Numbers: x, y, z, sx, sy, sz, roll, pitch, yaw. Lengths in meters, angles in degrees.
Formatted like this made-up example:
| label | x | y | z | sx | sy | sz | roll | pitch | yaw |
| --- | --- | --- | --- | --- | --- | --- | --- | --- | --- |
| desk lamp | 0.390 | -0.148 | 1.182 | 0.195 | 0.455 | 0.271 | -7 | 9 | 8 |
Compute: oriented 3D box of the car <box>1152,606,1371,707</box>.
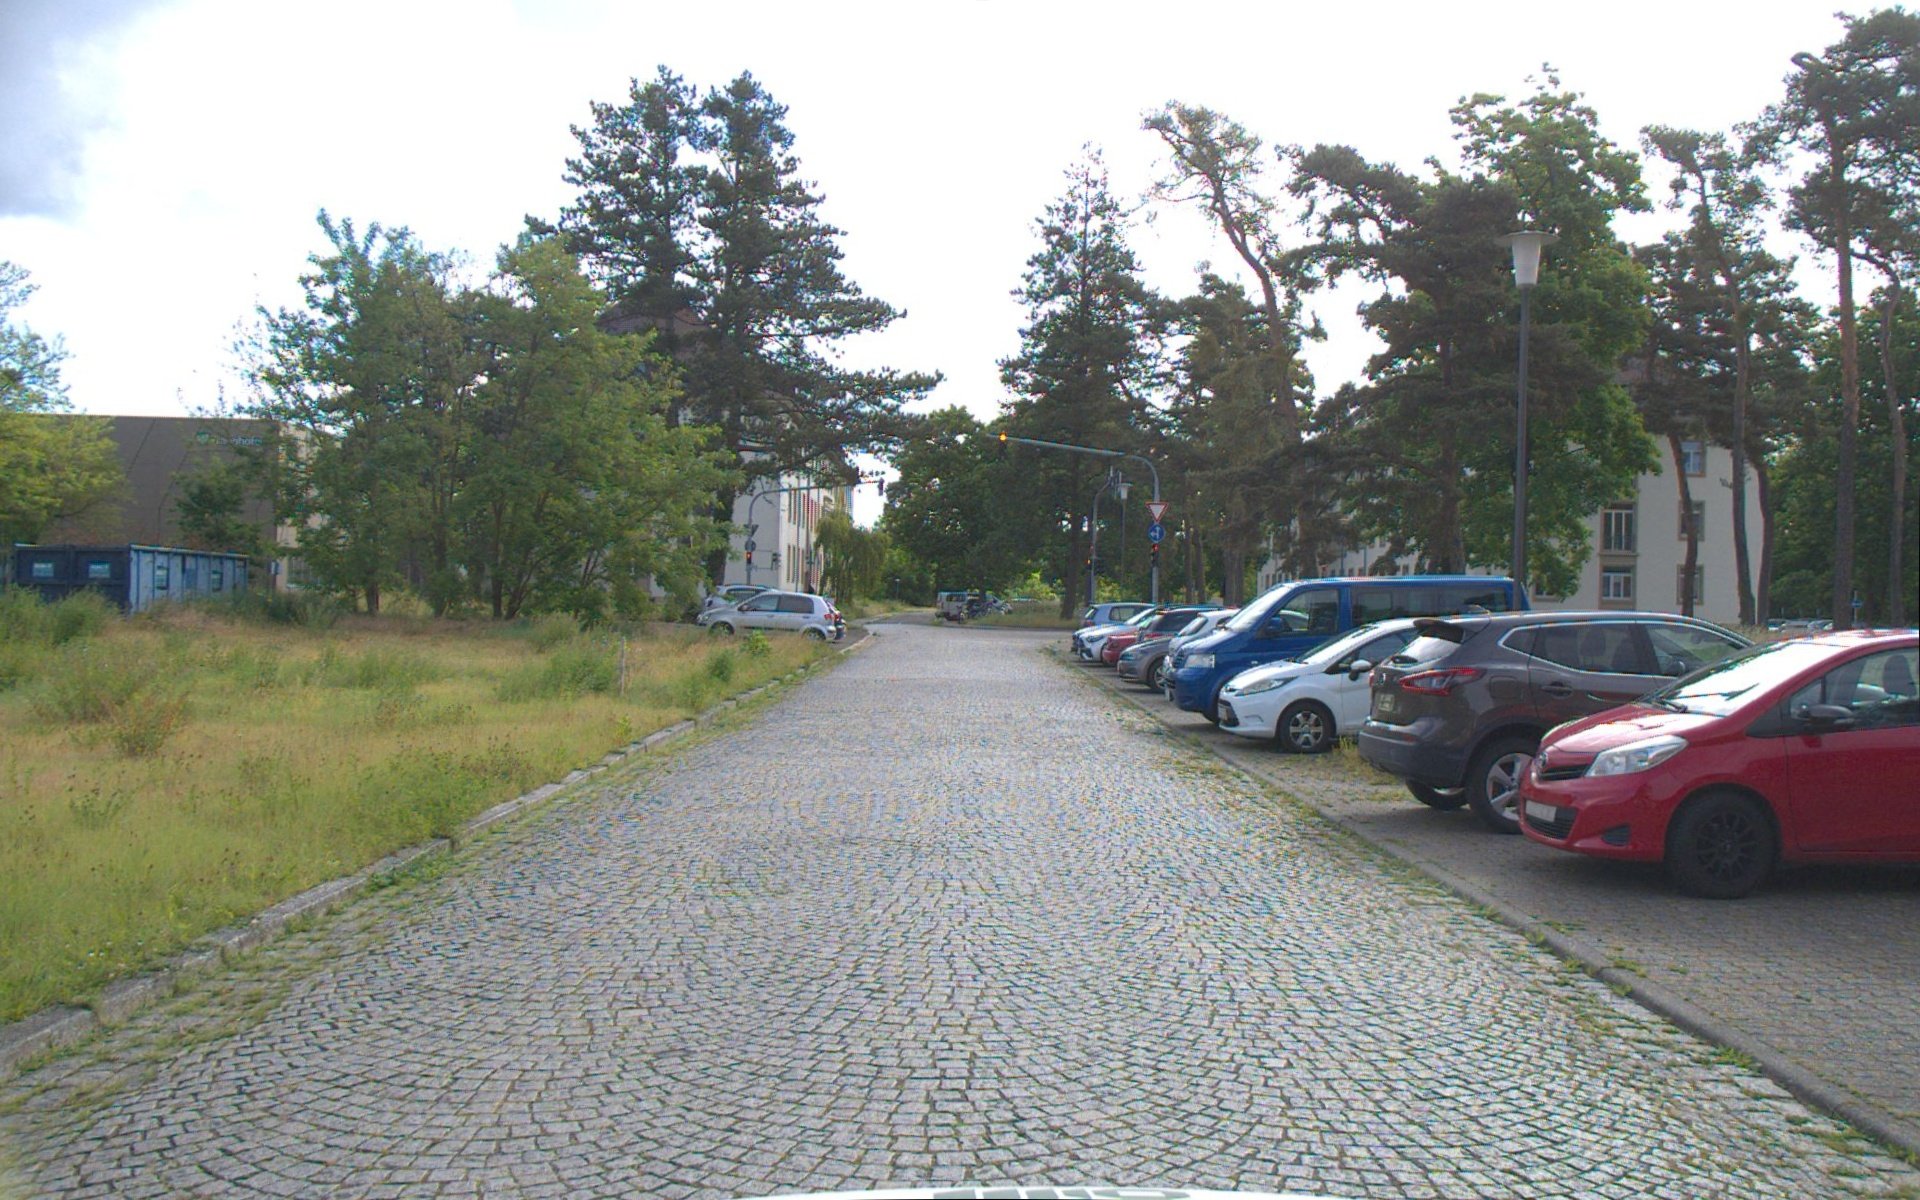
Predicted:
| label | x | y | z | sx | sy | sz | roll | pitch | yaw |
| --- | --- | --- | --- | --- | --- | --- | --- | --- | --- |
| car | 4.885 | 0.902 | 27.072 | 3.226 | 1.531 | 1.663 | 1 | 0 | -3 |

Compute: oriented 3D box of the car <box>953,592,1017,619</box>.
| label | x | y | z | sx | sy | sz | roll | pitch | yaw |
| --- | --- | --- | --- | --- | --- | --- | --- | --- | --- |
| car | 1.628 | 0.344 | 108.891 | 3.911 | 1.673 | 1.997 | 2 | 0 | -7 |

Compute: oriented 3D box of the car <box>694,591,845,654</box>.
| label | x | y | z | sx | sy | sz | roll | pitch | yaw |
| --- | --- | --- | --- | --- | --- | --- | --- | --- | --- |
| car | -5.099 | 0.581 | 44.478 | 3.911 | 1.579 | 1.997 | 1 | 0 | -7 |

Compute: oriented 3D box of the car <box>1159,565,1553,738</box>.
| label | x | y | z | sx | sy | sz | roll | pitch | yaw |
| --- | --- | --- | --- | --- | --- | --- | --- | --- | --- |
| car | 5.076 | 0.640 | 21.570 | 4.686 | 2.075 | 1.737 | 1 | 0 | -3 |

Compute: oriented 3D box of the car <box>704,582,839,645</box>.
| label | x | y | z | sx | sy | sz | roll | pitch | yaw |
| --- | --- | --- | --- | --- | --- | --- | --- | --- | --- |
| car | -5.688 | 0.394 | 49.878 | 3.912 | 1.780 | 1.924 | 2 | 0 | -8 |

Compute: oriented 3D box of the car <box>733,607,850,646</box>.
| label | x | y | z | sx | sy | sz | roll | pitch | yaw |
| --- | --- | --- | --- | --- | --- | --- | --- | --- | --- |
| car | -5.311 | 0.825 | 52.261 | 3.600 | 1.113 | 1.644 | 1 | 0 | -7 |

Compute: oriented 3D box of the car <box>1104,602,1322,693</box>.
| label | x | y | z | sx | sy | sz | roll | pitch | yaw |
| --- | --- | --- | --- | --- | --- | --- | --- | --- | --- |
| car | 4.546 | 0.849 | 29.943 | 3.533 | 1.533 | 1.660 | 1 | 0 | -11 |

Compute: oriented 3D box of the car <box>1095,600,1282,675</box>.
| label | x | y | z | sx | sy | sz | roll | pitch | yaw |
| --- | --- | --- | --- | --- | --- | --- | --- | --- | --- |
| car | 5.189 | 0.841 | 37.791 | 3.910 | 1.570 | 1.662 | 2 | 0 | -6 |

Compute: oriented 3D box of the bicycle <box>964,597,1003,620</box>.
| label | x | y | z | sx | sy | sz | roll | pitch | yaw |
| --- | --- | --- | --- | --- | --- | --- | --- | --- | --- |
| bicycle | 1.334 | 0.481 | 94.928 | 2.119 | 1.290 | 0.811 | 1 | 0 | -7 |

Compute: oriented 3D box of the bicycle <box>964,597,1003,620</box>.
| label | x | y | z | sx | sy | sz | roll | pitch | yaw |
| --- | --- | --- | --- | --- | --- | --- | --- | --- | --- |
| bicycle | 1.342 | 0.476 | 94.341 | 2.119 | 1.290 | 0.811 | 1 | 0 | -7 |

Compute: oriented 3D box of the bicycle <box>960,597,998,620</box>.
| label | x | y | z | sx | sy | sz | roll | pitch | yaw |
| --- | --- | --- | --- | --- | --- | --- | --- | --- | --- |
| bicycle | 1.093 | 0.481 | 96.139 | 2.119 | 1.290 | 0.811 | 1 | 0 | -7 |

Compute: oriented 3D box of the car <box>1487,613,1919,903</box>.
| label | x | y | z | sx | sy | sz | roll | pitch | yaw |
| --- | --- | --- | --- | --- | --- | --- | --- | --- | --- |
| car | 5.440 | 0.905 | 10.051 | 3.906 | 1.545 | 1.738 | 1 | 0 | -1 |

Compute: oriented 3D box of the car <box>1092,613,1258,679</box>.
| label | x | y | z | sx | sy | sz | roll | pitch | yaw |
| --- | --- | --- | --- | --- | --- | --- | --- | --- | --- |
| car | 4.593 | 0.980 | 35.537 | 3.229 | 1.289 | 1.662 | 1 | 0 | -6 |

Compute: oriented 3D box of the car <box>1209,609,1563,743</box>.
| label | x | y | z | sx | sy | sz | roll | pitch | yaw |
| --- | --- | --- | --- | --- | --- | --- | --- | --- | --- |
| car | 4.844 | 0.837 | 19.109 | 3.648 | 1.449 | 1.653 | 0 | 0 | -3 |

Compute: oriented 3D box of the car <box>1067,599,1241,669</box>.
| label | x | y | z | sx | sy | sz | roll | pitch | yaw |
| --- | --- | --- | --- | --- | --- | --- | --- | --- | --- |
| car | 4.669 | 0.818 | 40.088 | 3.910 | 1.570 | 1.662 | 1 | 0 | -6 |

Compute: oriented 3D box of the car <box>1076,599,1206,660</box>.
| label | x | y | z | sx | sy | sz | roll | pitch | yaw |
| --- | --- | --- | --- | --- | --- | --- | --- | --- | --- |
| car | 4.955 | 0.799 | 45.407 | 3.324 | 1.570 | 1.389 | 1 | 0 | -6 |

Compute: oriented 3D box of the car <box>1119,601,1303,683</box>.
| label | x | y | z | sx | sy | sz | roll | pitch | yaw |
| --- | --- | --- | --- | --- | --- | --- | --- | --- | --- |
| car | 4.972 | 0.830 | 32.919 | 3.233 | 1.530 | 1.660 | 1 | 0 | -11 |

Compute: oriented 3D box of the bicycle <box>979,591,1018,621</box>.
| label | x | y | z | sx | sy | sz | roll | pitch | yaw |
| --- | --- | --- | --- | --- | --- | --- | --- | --- | --- |
| bicycle | 2.245 | 0.350 | 95.649 | 2.119 | 1.644 | 0.811 | 1 | 0 | -7 |

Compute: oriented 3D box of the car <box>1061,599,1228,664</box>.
| label | x | y | z | sx | sy | sz | roll | pitch | yaw |
| --- | --- | --- | --- | --- | --- | --- | --- | --- | --- |
| car | 4.750 | 0.797 | 42.834 | 4.043 | 1.570 | 1.662 | 1 | 0 | -6 |

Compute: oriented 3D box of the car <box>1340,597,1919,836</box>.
| label | x | y | z | sx | sy | sz | roll | pitch | yaw |
| --- | --- | --- | --- | --- | --- | --- | --- | --- | --- |
| car | 5.082 | 0.837 | 12.698 | 3.871 | 1.608 | 1.761 | 2 | 0 | -2 |

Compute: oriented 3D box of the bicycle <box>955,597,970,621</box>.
| label | x | y | z | sx | sy | sz | roll | pitch | yaw |
| --- | --- | --- | --- | --- | --- | --- | --- | --- | --- |
| bicycle | 0.139 | 0.491 | 90.568 | 0.793 | 1.290 | 1.973 | 1 | 0 | 1 |

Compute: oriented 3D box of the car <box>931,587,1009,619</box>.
| label | x | y | z | sx | sy | sz | roll | pitch | yaw |
| --- | --- | --- | --- | --- | --- | --- | --- | --- | --- |
| car | 0.661 | 0.193 | 112.157 | 4.960 | 2.049 | 1.995 | 2 | 0 | -11 |

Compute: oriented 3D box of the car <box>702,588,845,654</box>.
| label | x | y | z | sx | sy | sz | roll | pitch | yaw |
| --- | --- | --- | --- | --- | --- | --- | --- | --- | --- |
| car | -5.284 | 0.577 | 46.965 | 3.911 | 1.735 | 1.997 | 1 | 0 | -7 |
